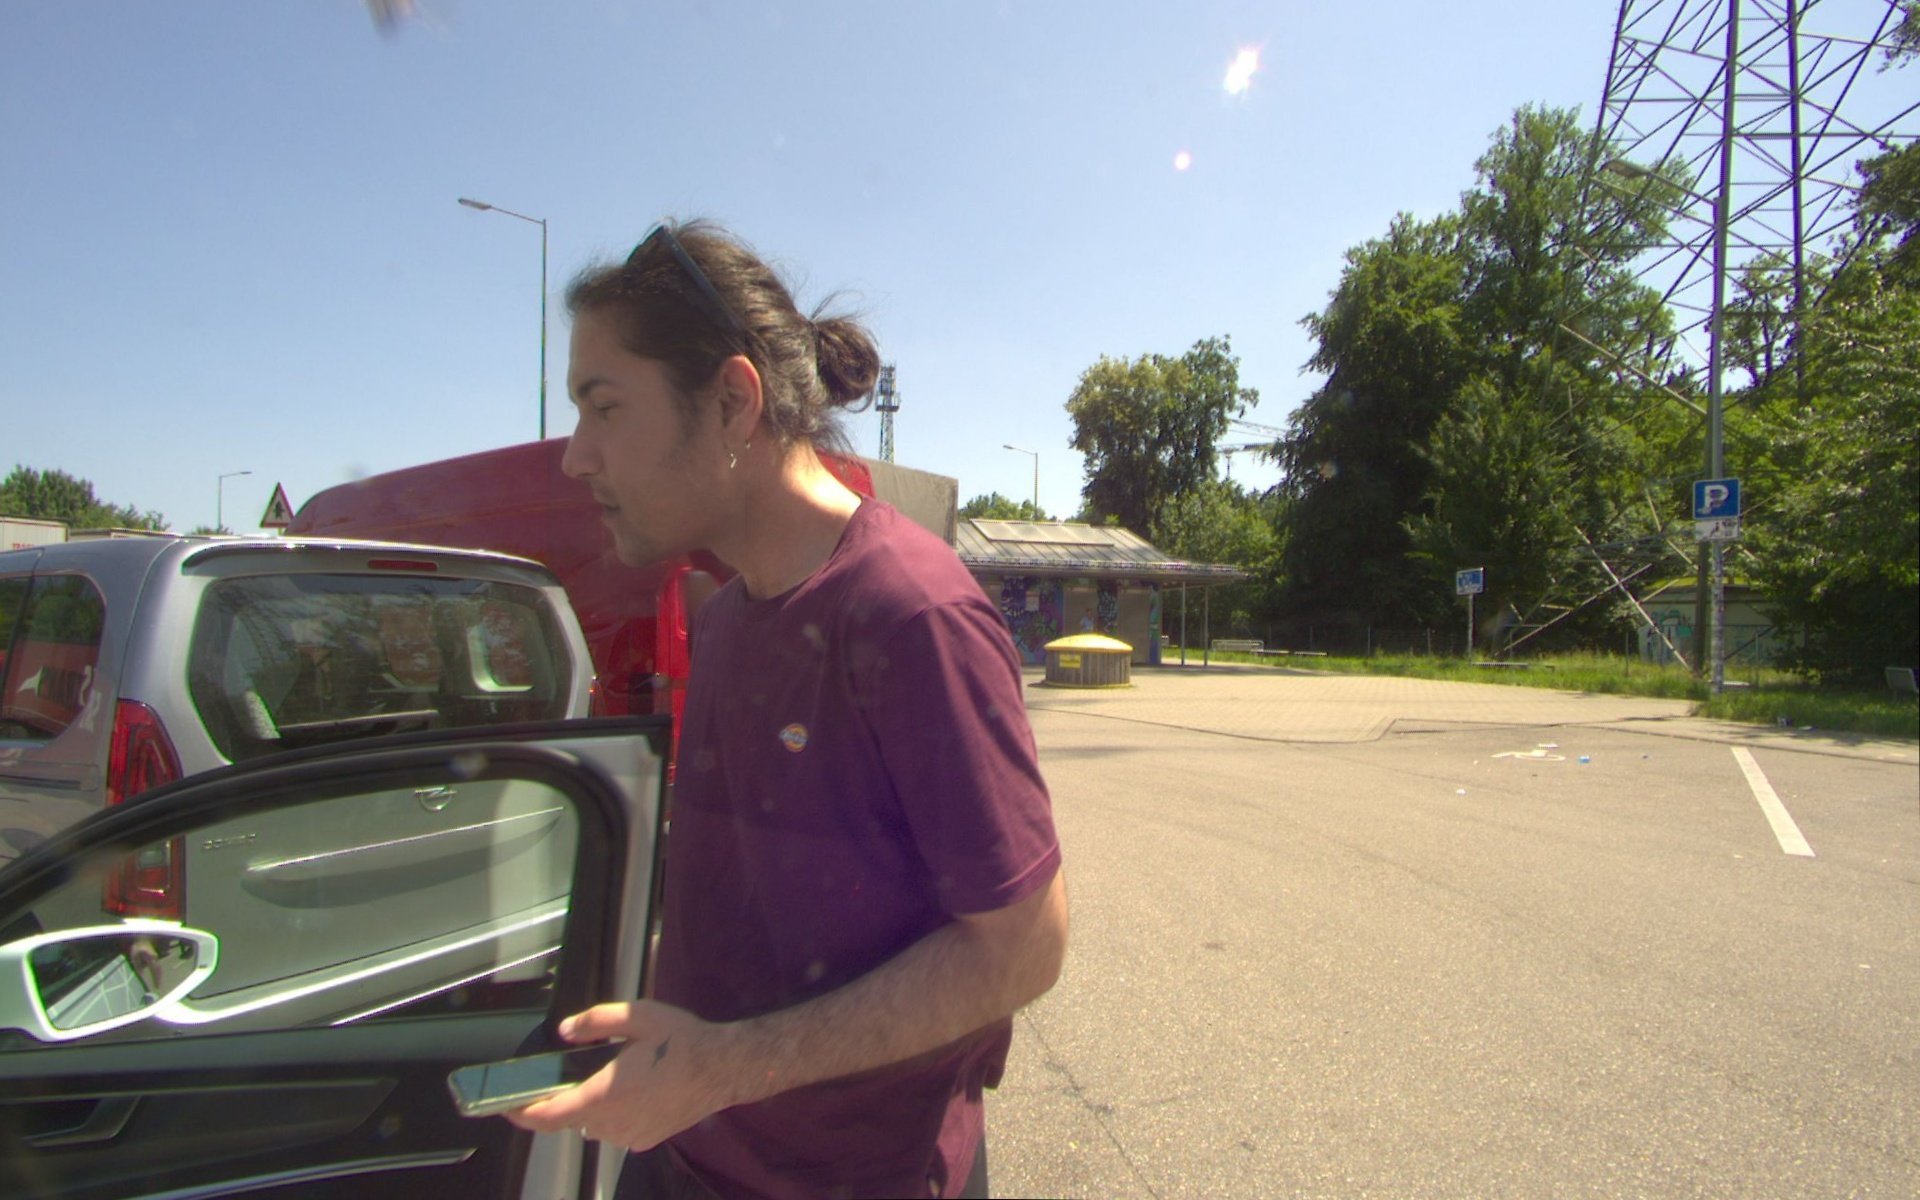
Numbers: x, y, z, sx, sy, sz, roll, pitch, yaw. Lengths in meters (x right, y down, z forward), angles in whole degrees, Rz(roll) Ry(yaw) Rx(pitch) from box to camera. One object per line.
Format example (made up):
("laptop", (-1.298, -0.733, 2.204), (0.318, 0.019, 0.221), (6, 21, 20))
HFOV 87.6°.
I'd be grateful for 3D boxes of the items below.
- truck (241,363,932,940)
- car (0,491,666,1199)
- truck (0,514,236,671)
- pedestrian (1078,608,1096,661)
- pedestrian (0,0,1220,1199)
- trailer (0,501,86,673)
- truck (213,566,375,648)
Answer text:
("truck", (-2.870, 0.261, 6.992), (5.233, 2.658, 1.987), (0, -1, 37))
("car", (-3.356, 0.636, 4.207), (3.938, 1.776, 1.824), (0, -1, 29))
("truck", (-28.001, -0.136, 31.776), (14.316, 4.175, 2.901), (0, -3, 33))
("pedestrian", (3.698, 0.997, 29.164), (0.453, 1.535, 0.375), (1, 0, -2))
("pedestrian", (-0.310, 0.456, 1.004), (0.926, 1.798, 0.827), (1, 0, 28))
("trailer", (-28.806, -0.332, 28.022), (13.374, 4.178, 2.871), (0, -1, 33))
("truck", (-30.720, 0.312, 46.064), (8.407, 3.482, 3.019), (0, -1, 33))
